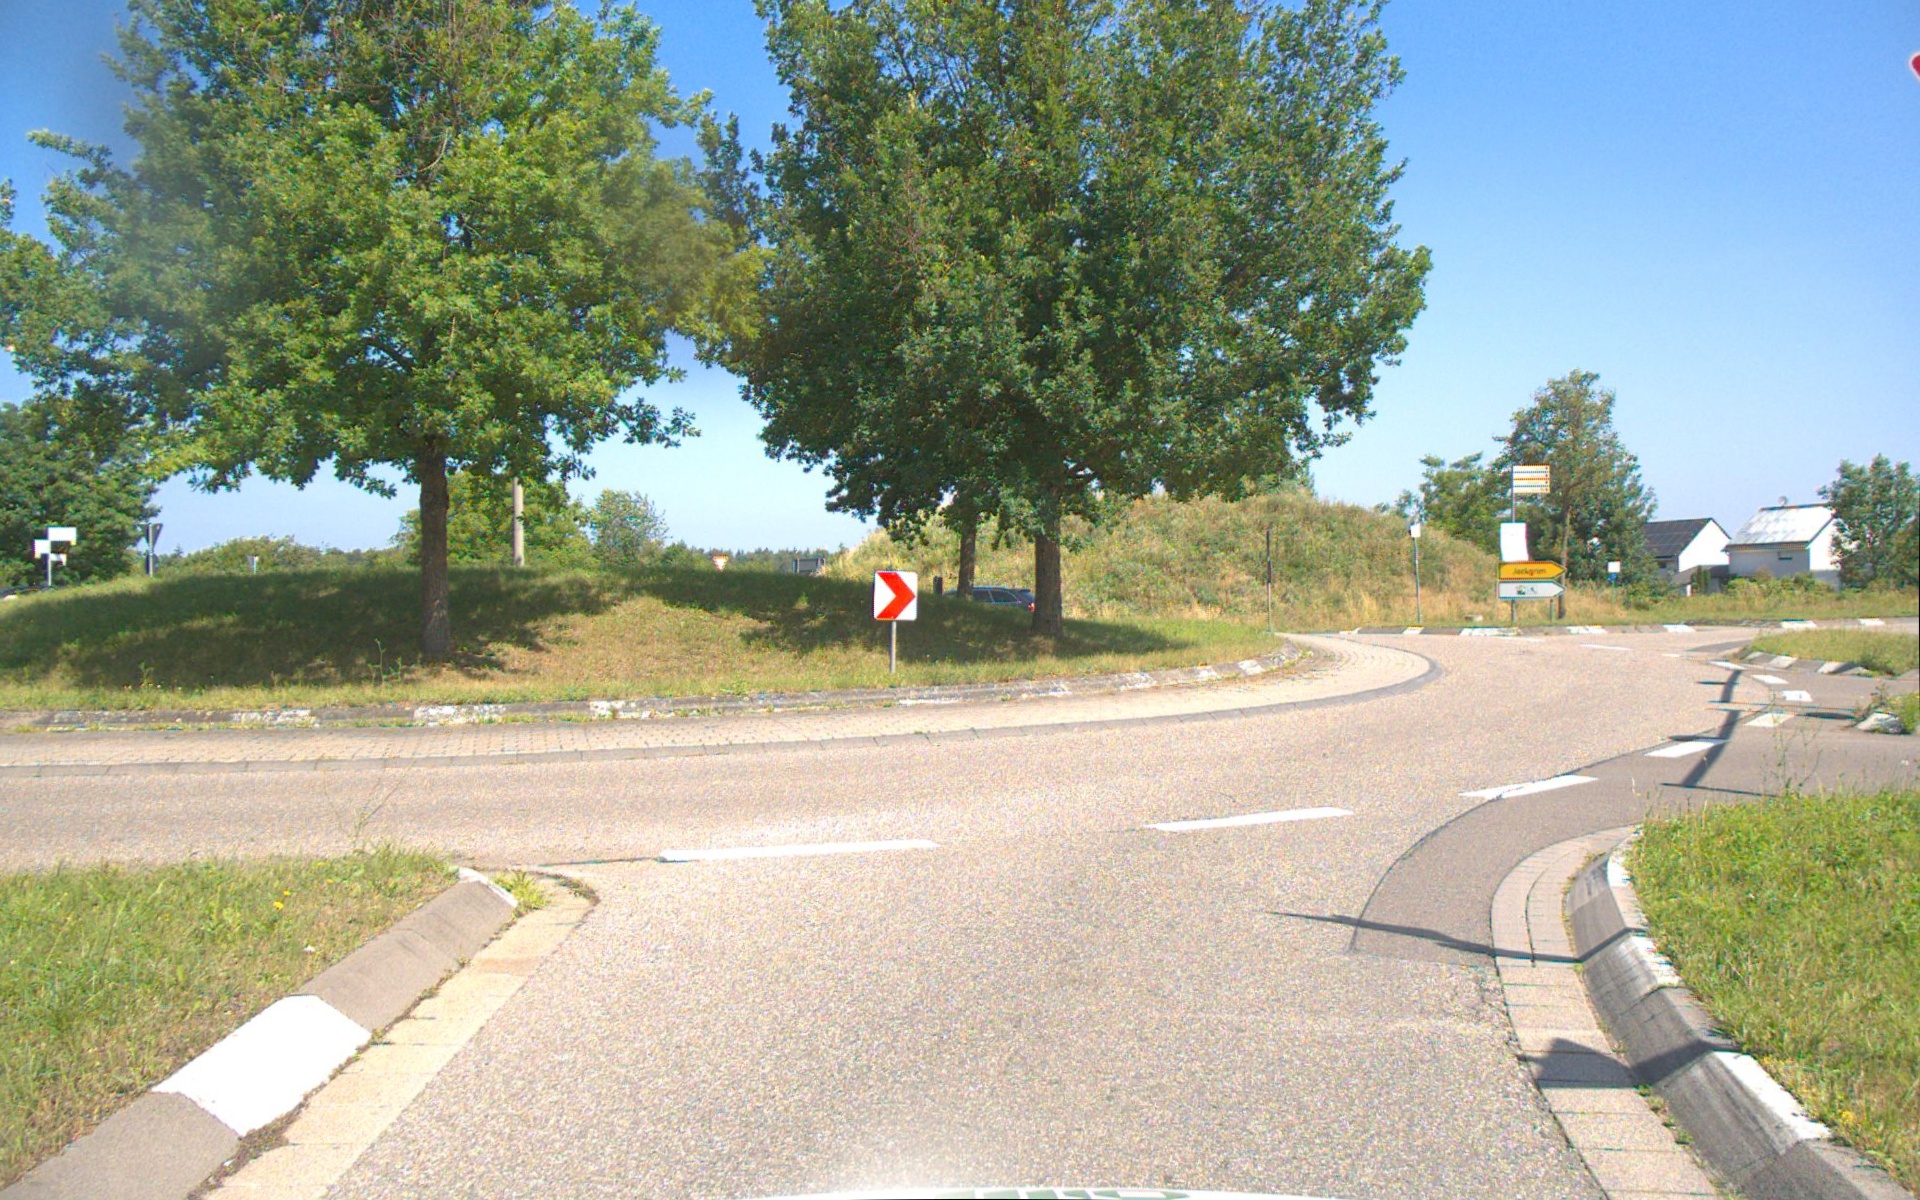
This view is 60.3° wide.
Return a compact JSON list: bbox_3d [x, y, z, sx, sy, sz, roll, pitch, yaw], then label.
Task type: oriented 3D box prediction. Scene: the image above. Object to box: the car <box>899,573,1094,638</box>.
[{"bbox_3d":[0.944,0.134,43.016,4.667,1.620,1.998,0,0,27],"label":"car"}]
